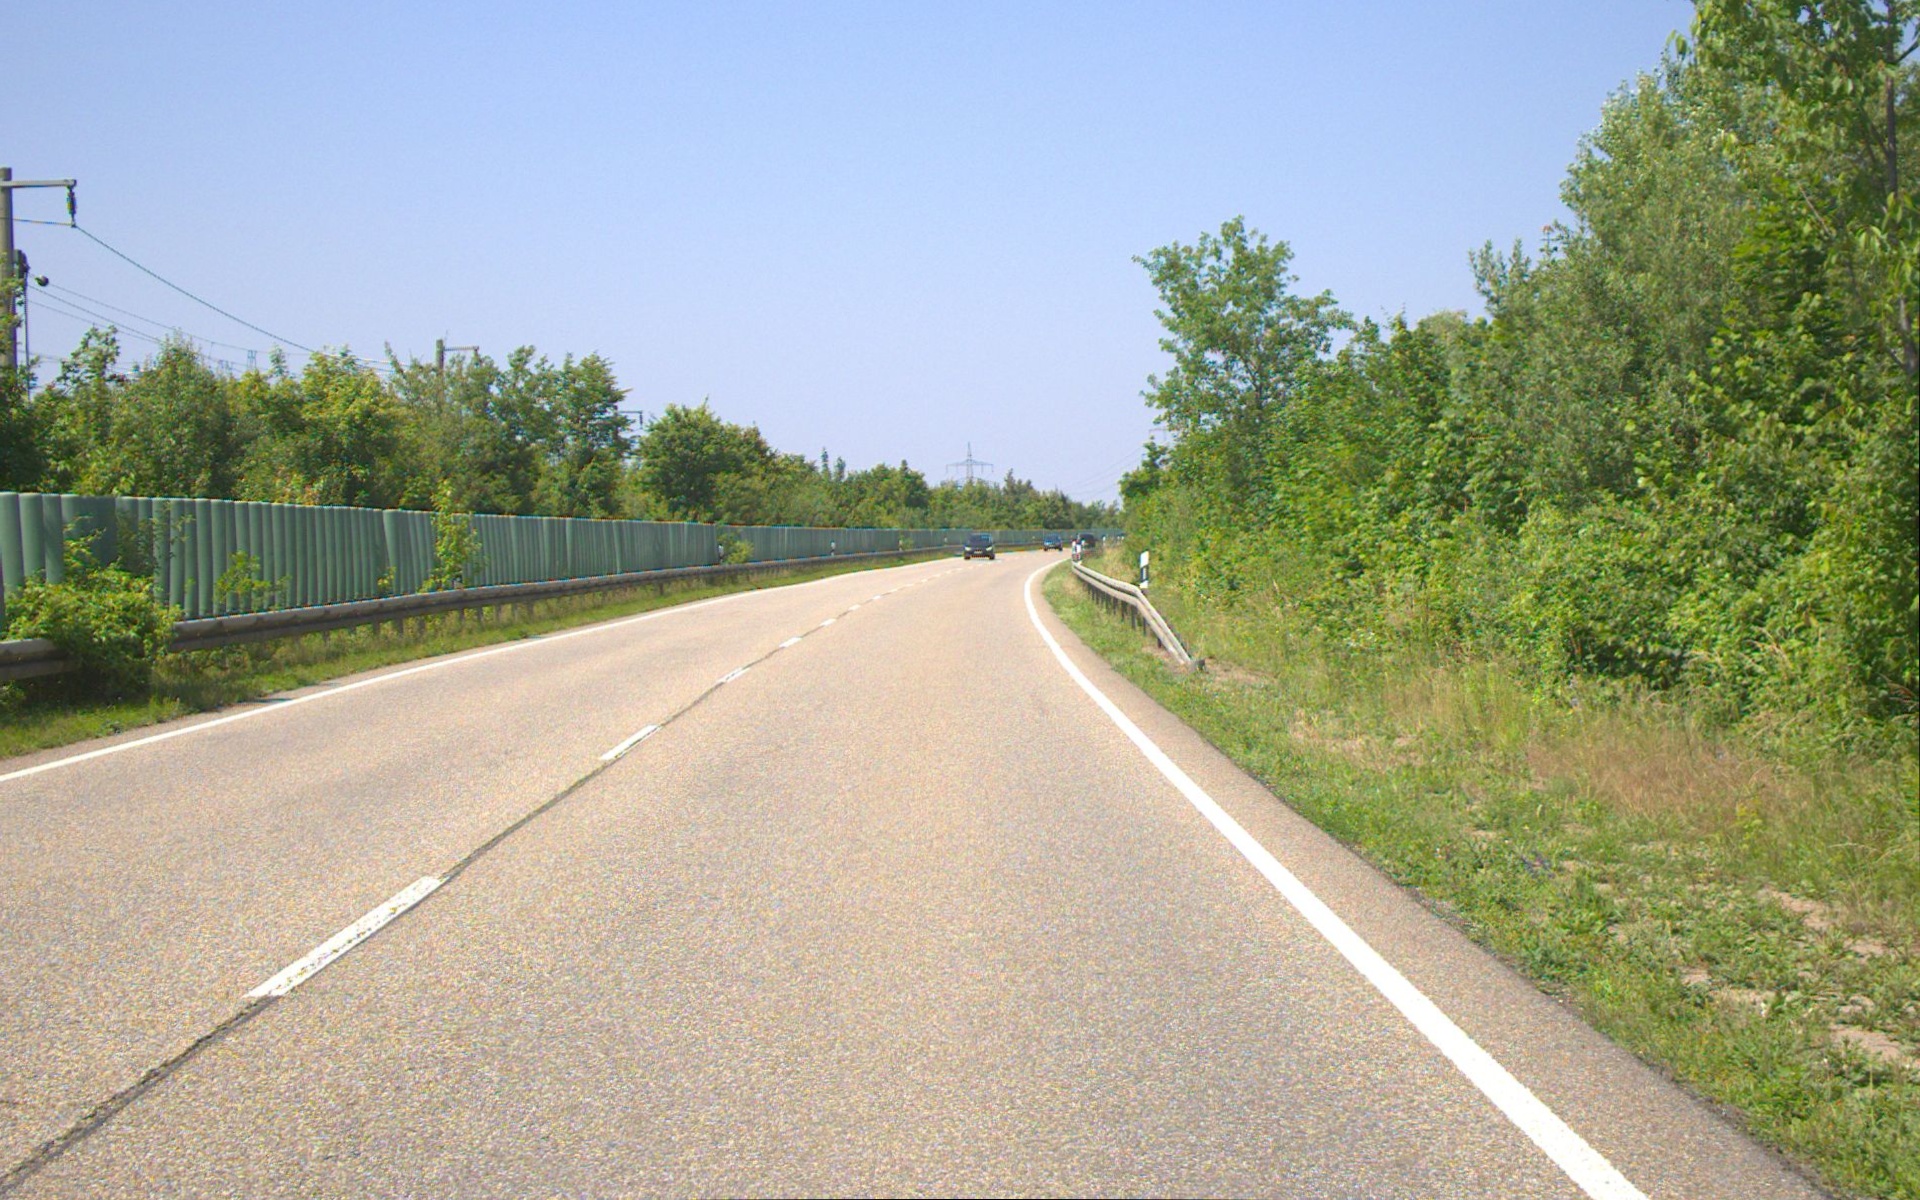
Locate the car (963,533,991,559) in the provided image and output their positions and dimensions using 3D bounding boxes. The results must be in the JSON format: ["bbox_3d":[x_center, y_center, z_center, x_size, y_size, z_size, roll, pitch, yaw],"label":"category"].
[{"bbox_3d":[1.091,-3.402,217.894,1.764,1.634,4.126,0,1,1],"label":"car"}]
